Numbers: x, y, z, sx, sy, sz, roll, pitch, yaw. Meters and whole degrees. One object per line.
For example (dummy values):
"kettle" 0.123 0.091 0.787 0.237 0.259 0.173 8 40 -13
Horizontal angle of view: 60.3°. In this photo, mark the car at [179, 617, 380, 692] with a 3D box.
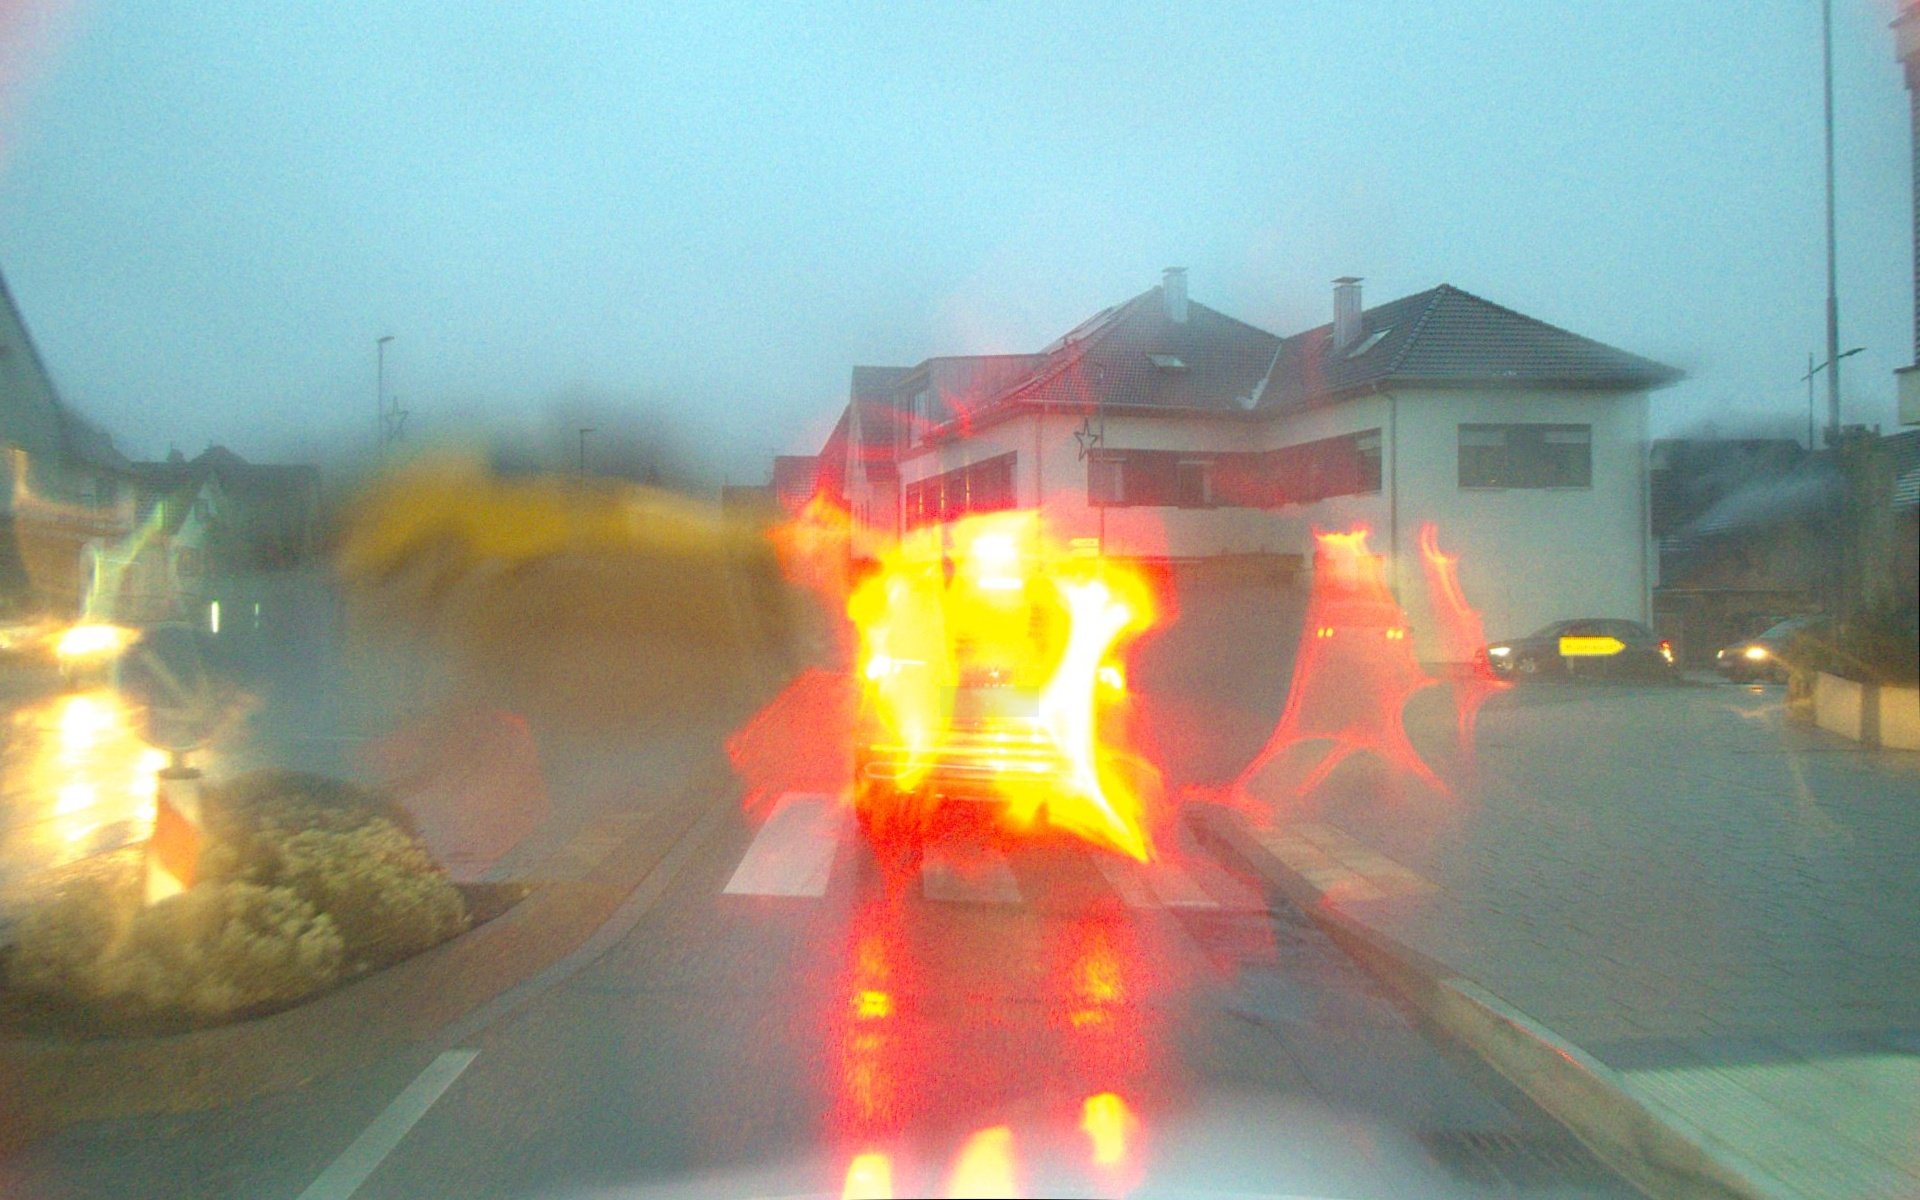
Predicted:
"car" -15.795 1.250 38.566 3.978 1.691 1.701 0 0 -7

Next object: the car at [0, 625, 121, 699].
"car" -19.122 1.290 34.418 1.677 1.447 4.005 0 -2 -8

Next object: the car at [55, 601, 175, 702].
"car" -12.931 0.742 25.443 1.484 1.436 3.340 0 0 -25

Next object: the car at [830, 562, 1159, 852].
"car" 0.235 0.609 11.466 1.876 1.643 3.951 0 0 1

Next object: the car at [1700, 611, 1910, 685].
"car" 19.053 1.095 37.394 3.906 1.579 1.696 1 -3 -2

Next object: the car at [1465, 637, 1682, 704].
"car" 13.610 1.579 36.813 4.138 1.408 1.848 1 -3 -5

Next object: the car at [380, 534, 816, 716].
"car" -4.351 0.274 20.143 4.780 2.049 2.001 0 0 14

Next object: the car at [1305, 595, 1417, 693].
"car" 6.873 0.700 28.504 1.740 1.566 3.935 0 0 13
